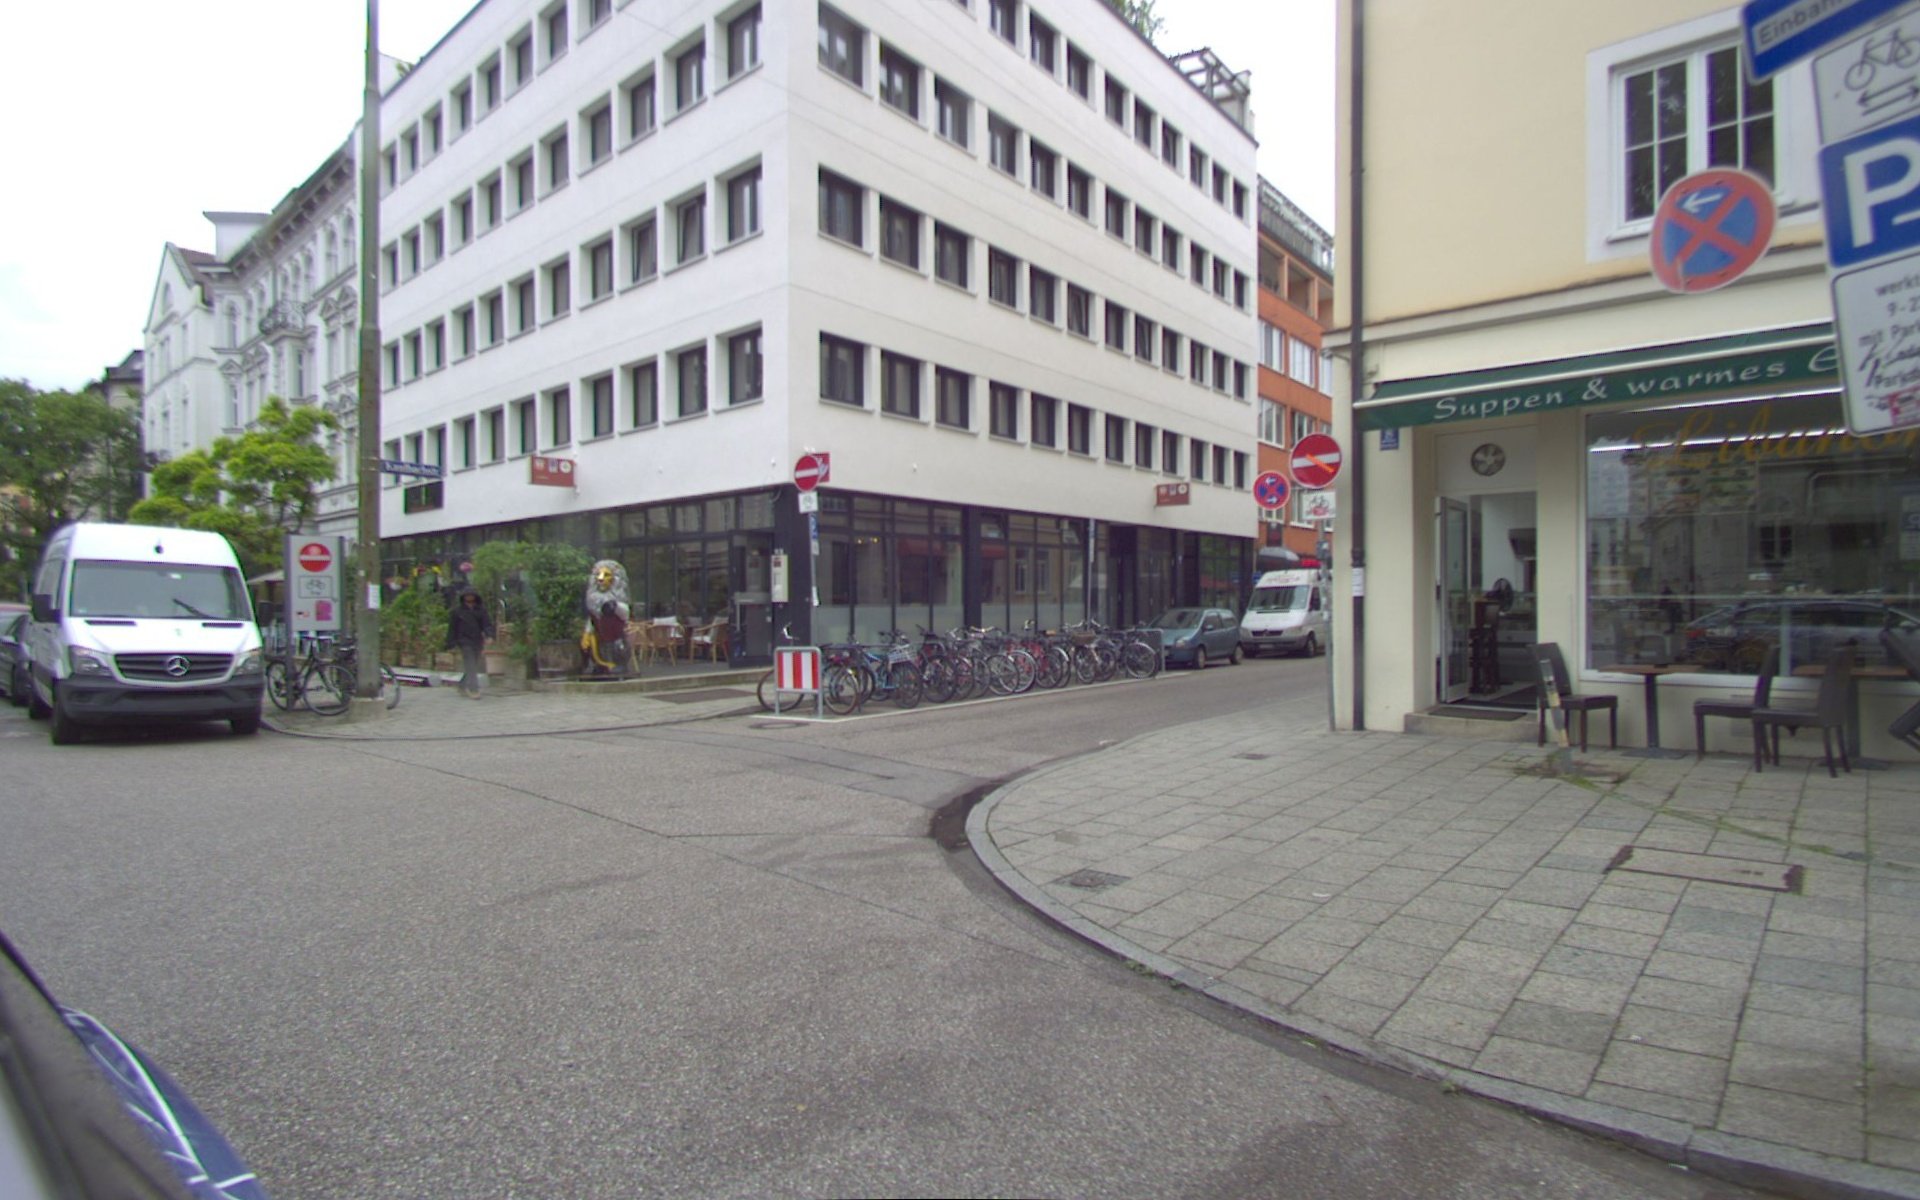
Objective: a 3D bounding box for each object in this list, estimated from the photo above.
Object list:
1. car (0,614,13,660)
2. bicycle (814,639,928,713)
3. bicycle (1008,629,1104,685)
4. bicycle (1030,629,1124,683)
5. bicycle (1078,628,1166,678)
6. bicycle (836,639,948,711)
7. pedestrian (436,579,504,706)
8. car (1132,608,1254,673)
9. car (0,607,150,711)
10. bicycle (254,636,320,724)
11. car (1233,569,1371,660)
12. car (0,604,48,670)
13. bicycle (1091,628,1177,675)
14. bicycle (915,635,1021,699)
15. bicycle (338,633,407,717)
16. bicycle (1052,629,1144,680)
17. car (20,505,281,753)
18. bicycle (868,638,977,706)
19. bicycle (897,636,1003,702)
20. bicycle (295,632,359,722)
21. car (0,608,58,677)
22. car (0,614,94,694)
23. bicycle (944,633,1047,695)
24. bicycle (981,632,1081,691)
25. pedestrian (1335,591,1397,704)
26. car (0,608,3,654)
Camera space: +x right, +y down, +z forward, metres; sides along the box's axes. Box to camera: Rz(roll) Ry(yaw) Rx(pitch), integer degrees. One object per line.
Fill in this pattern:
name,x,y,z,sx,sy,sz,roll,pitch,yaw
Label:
car,-31.262,1.166,31.951,3.814,1.404,1.614,0,0,41
bicycle,-1.337,1.098,14.969,1.891,0.975,0.393,0,0,37
bicycle,1.795,1.065,19.135,1.891,0.975,0.393,0,0,37
bicycle,2.269,1.083,19.860,1.891,0.975,0.393,0,0,37
bicycle,3.446,1.118,21.666,1.891,0.975,0.393,0,0,37
bicycle,-1.054,1.112,15.330,1.891,0.975,0.393,0,0,37
pedestrian,-7.362,0.616,15.213,0.812,1.854,0.608,0,0,36
car,5.630,0.902,24.153,1.488,1.418,3.645,0,0,37
car,-15.049,0.888,16.920,3.979,1.494,1.644,0,0,41
bicycle,-9.157,1.055,13.754,1.815,1.099,0.283,-1,-1,41
car,10.216,0.343,29.854,1.961,2.406,6.404,0,0,37
car,-26.515,0.979,27.860,3.898,1.736,1.699,0,-1,43
bicycle,3.804,1.115,22.226,1.891,0.975,0.393,0,0,37
bicycle,0.111,1.093,16.877,1.891,0.975,0.393,0,0,37
bicycle,-8.400,1.041,14.444,1.815,1.099,0.283,0,0,41
bicycle,2.789,1.089,20.581,1.891,0.975,0.393,0,0,37
car,-10.824,0.330,13.319,5.796,2.593,1.954,0,-2,45
bicycle,-0.606,1.111,15.927,1.891,0.975,0.393,0,0,37
bicycle,-0.184,1.100,16.504,1.891,0.975,0.393,0,0,37
bicycle,-8.769,1.032,13.990,1.806,1.135,0.252,0,0,42
car,-22.639,0.963,24.051,1.673,1.515,3.780,-1,0,-44
car,-19.044,1.035,20.565,4.473,1.476,1.706,-1,-3,43
bicycle,0.592,1.088,17.501,1.891,0.975,0.393,0,0,37
bicycle,1.262,1.088,18.329,1.891,0.975,0.393,0,0,37
pedestrian,5.862,0.661,14.606,0.599,1.573,0.640,-1,0,-44
car,-34.983,1.081,35.490,4.066,1.584,1.672,0,0,41
